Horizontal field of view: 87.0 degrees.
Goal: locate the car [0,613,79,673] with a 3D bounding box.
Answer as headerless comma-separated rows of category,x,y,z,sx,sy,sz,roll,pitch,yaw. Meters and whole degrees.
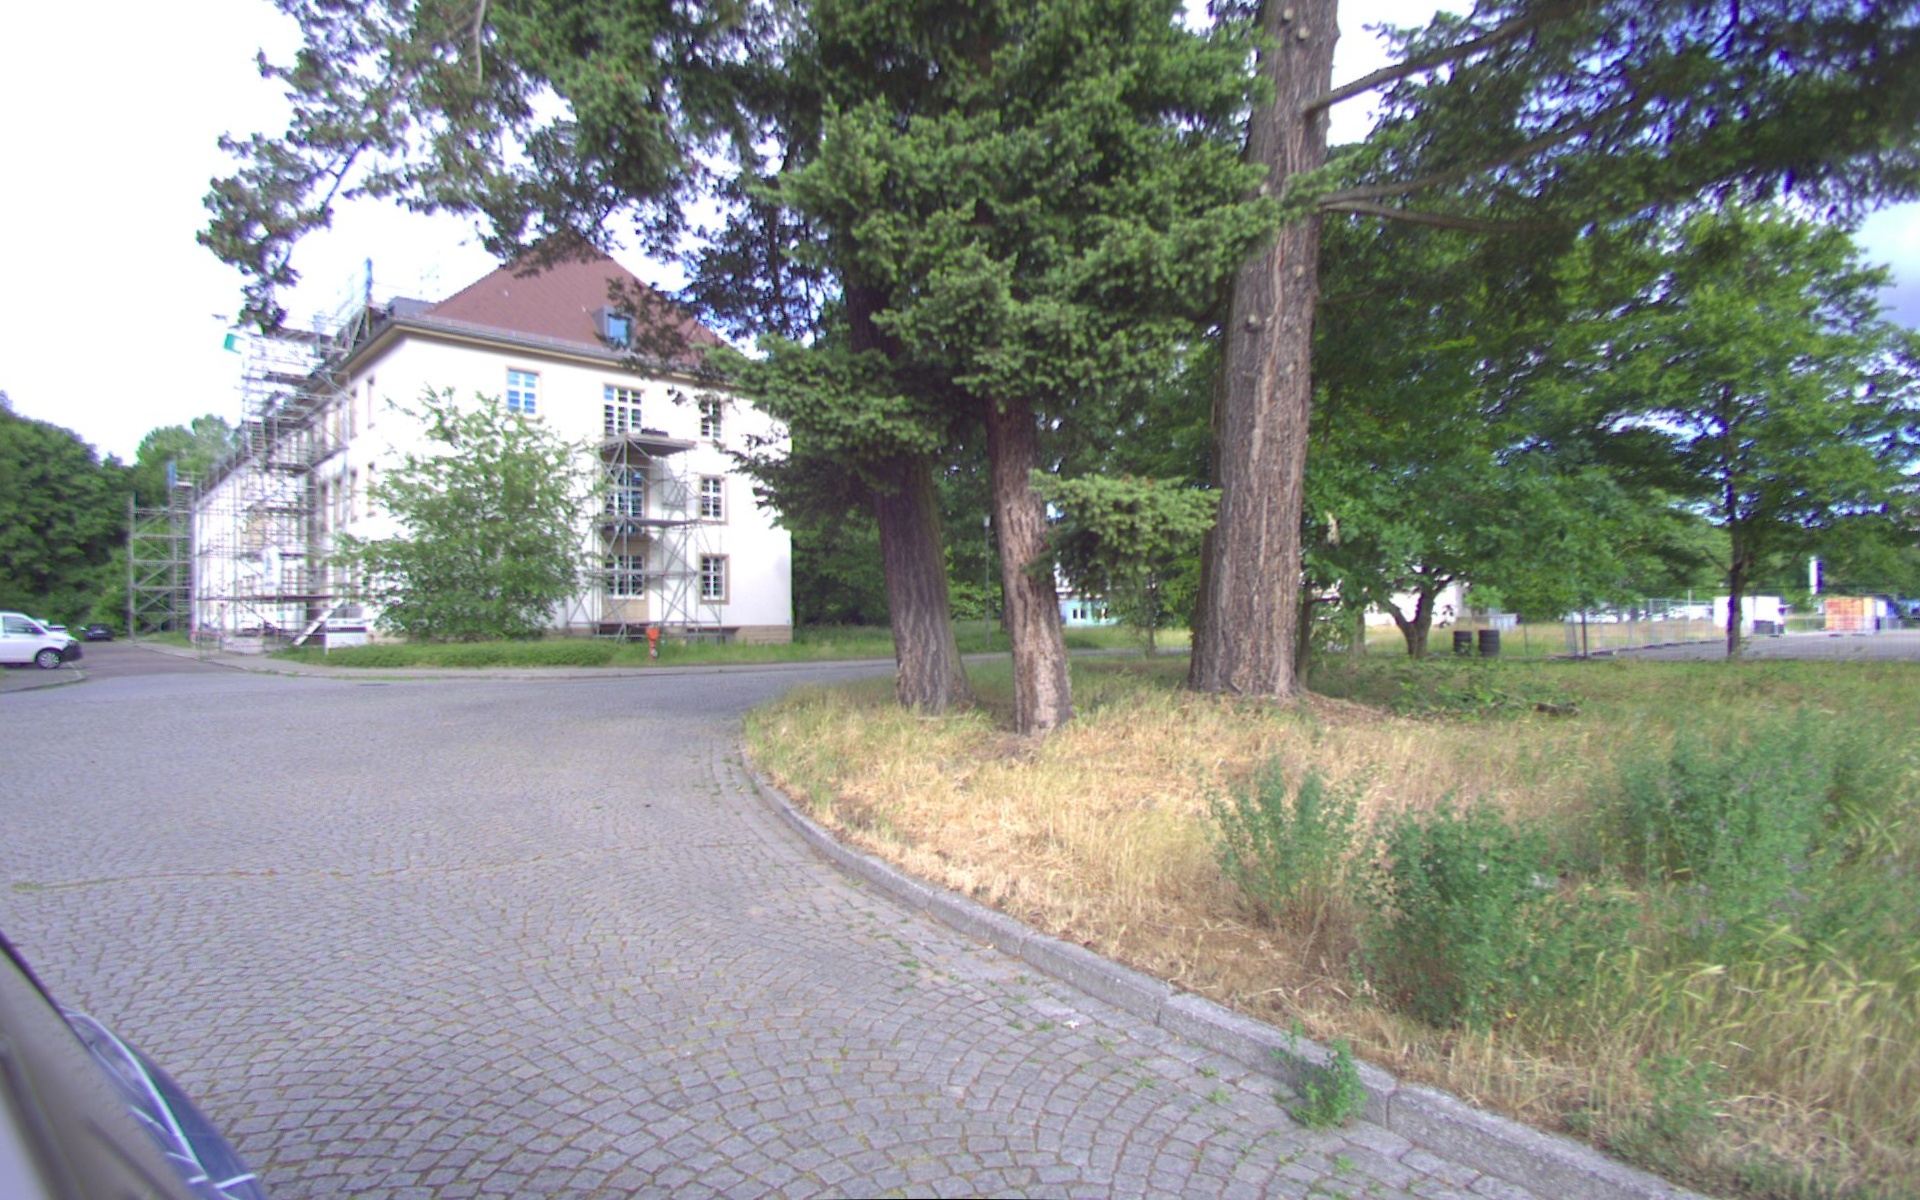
car,-33.172,1.458,34.302,2.001,2.010,4.847,-2,-2,45

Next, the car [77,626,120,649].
car,-73.931,3.192,86.825,3.993,1.941,2.003,-2,-2,37
